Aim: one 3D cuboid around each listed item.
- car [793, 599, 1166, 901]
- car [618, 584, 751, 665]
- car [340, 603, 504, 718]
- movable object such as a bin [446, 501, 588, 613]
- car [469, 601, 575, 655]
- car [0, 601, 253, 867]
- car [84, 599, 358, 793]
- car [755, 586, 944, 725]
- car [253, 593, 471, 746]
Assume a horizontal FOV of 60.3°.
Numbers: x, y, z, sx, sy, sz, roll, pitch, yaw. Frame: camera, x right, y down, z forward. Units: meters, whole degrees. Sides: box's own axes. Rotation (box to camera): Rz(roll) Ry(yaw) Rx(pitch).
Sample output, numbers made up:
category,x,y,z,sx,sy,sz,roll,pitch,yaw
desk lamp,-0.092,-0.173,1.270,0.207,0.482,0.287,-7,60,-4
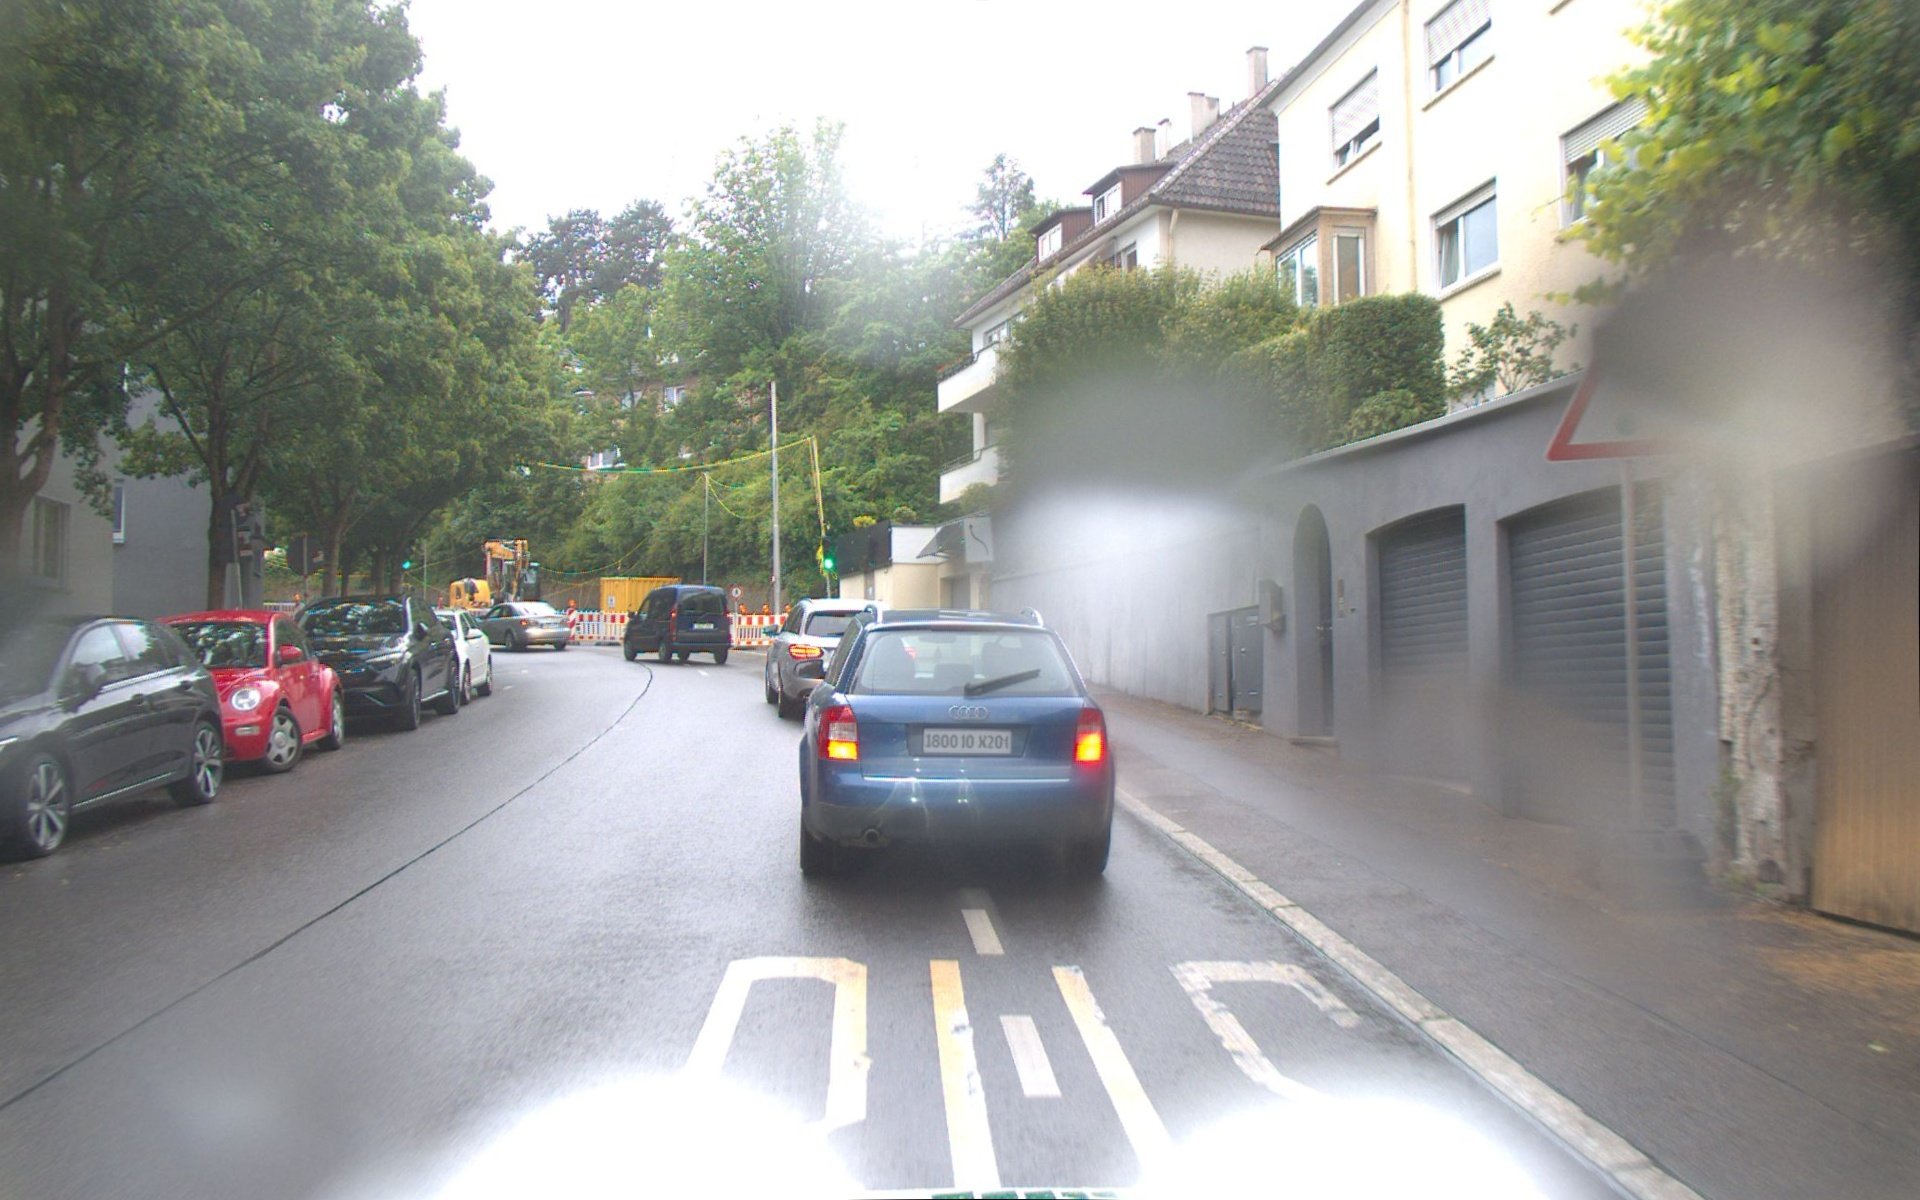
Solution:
category,x,y,z,sx,sy,sz,roll,pitch,yaw
car,-0.089,0.743,10.127,1.752,1.467,3.957,1,0,-7
car,-6.773,0.576,40.319,1.972,1.825,3.961,-2,0,-29
car,-8.420,0.877,26.243,1.650,1.534,4.308,-4,1,-8
movable object such as a bin,-17.146,-1.585,63.702,2.799,4.084,7.229,0,0,-37
car,-13.261,0.826,49.924,1.708,1.512,4.022,-2,0,-37
car,-6.338,0.839,11.116,1.525,1.514,4.095,-4,-1,-3
car,-6.997,0.852,16.030,1.604,1.592,3.837,-1,-1,-12
car,-1.574,0.640,21.908,1.893,1.646,4.307,0,0,-13
car,-7.576,0.789,21.392,1.651,1.636,4.568,-4,1,-8
